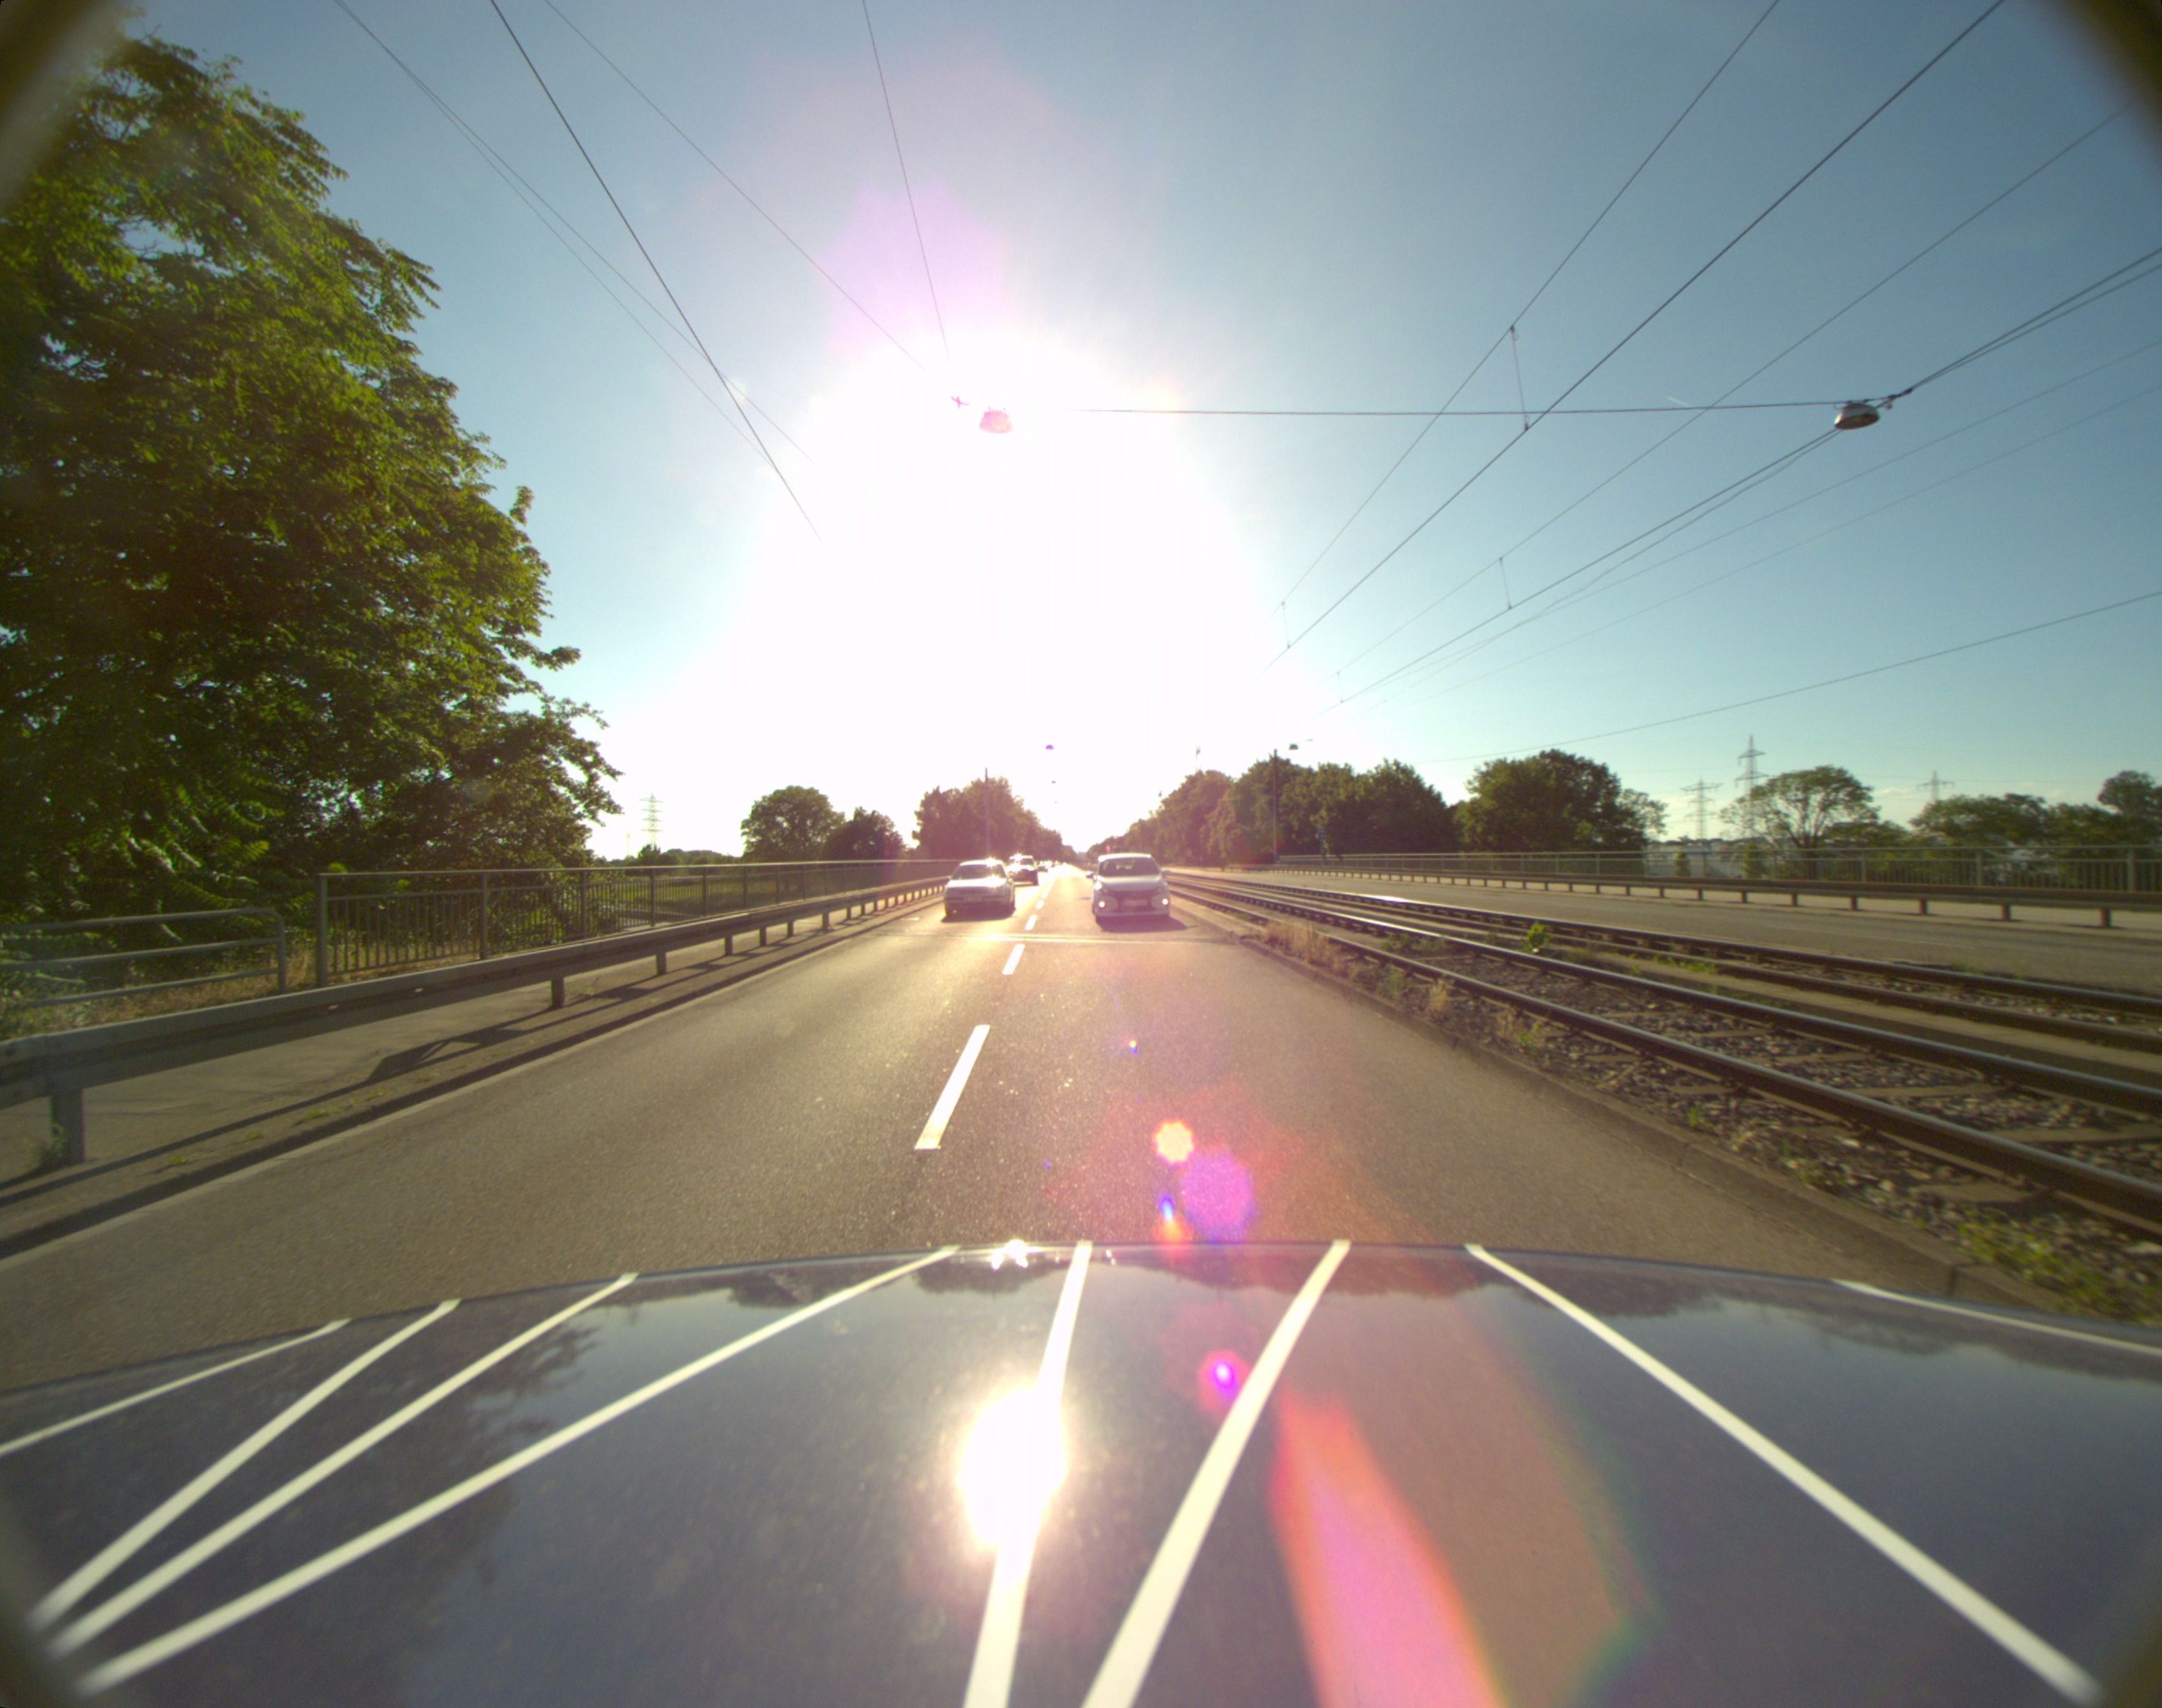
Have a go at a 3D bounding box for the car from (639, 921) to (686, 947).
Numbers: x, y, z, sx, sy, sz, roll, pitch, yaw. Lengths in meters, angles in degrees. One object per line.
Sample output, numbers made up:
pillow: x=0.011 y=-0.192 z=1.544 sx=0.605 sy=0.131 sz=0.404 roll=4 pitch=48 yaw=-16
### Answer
car: x=-42.082 y=8.007 z=76.332 sx=4.800 sy=1.955 sz=1.998 roll=1 pitch=3 yaw=31

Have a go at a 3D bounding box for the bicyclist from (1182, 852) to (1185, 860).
bicyclist: x=17.564 y=0.321 z=129.694 sx=0.423 sy=1.421 sz=0.754 roll=-2 pitch=1 yaw=5

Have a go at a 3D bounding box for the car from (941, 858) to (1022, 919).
car: x=-2.699 y=0.902 z=21.427 sx=1.693 sy=1.409 sz=4.134 roll=-2 pitch=1 yaw=0

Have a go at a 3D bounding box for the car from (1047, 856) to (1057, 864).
car: x=-6.295 y=1.310 z=164.323 sx=1.905 sy=1.512 sz=3.955 roll=-2 pitch=1 yaw=-1

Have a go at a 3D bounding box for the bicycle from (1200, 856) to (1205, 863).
bicycle: x=17.676 y=0.780 z=110.587 sx=0.505 sy=1.046 sz=1.727 roll=-2 pitch=1 yaw=-1

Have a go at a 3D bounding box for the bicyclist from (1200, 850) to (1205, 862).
bicyclist: x=17.648 y=0.250 z=110.613 sx=0.498 sy=1.741 sz=0.833 roll=-2 pitch=1 yaw=-2

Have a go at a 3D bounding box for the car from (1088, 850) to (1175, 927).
car: x=1.075 y=0.717 z=17.771 sx=1.709 sy=1.503 sz=3.861 roll=-2 pitch=1 yaw=0

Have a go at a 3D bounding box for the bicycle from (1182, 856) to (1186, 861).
bicycle: x=17.574 y=0.762 z=129.640 sx=0.426 sy=0.958 sz=1.913 roll=-2 pitch=1 yaw=5

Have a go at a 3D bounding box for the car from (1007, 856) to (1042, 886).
car: x=-3.190 y=0.920 z=43.540 sx=1.709 sy=1.512 sz=3.843 roll=-2 pitch=1 yaw=0

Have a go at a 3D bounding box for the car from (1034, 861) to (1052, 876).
car: x=-4.372 y=1.700 z=88.343 sx=1.905 sy=1.512 sz=3.956 roll=-2 pitch=1 yaw=0
